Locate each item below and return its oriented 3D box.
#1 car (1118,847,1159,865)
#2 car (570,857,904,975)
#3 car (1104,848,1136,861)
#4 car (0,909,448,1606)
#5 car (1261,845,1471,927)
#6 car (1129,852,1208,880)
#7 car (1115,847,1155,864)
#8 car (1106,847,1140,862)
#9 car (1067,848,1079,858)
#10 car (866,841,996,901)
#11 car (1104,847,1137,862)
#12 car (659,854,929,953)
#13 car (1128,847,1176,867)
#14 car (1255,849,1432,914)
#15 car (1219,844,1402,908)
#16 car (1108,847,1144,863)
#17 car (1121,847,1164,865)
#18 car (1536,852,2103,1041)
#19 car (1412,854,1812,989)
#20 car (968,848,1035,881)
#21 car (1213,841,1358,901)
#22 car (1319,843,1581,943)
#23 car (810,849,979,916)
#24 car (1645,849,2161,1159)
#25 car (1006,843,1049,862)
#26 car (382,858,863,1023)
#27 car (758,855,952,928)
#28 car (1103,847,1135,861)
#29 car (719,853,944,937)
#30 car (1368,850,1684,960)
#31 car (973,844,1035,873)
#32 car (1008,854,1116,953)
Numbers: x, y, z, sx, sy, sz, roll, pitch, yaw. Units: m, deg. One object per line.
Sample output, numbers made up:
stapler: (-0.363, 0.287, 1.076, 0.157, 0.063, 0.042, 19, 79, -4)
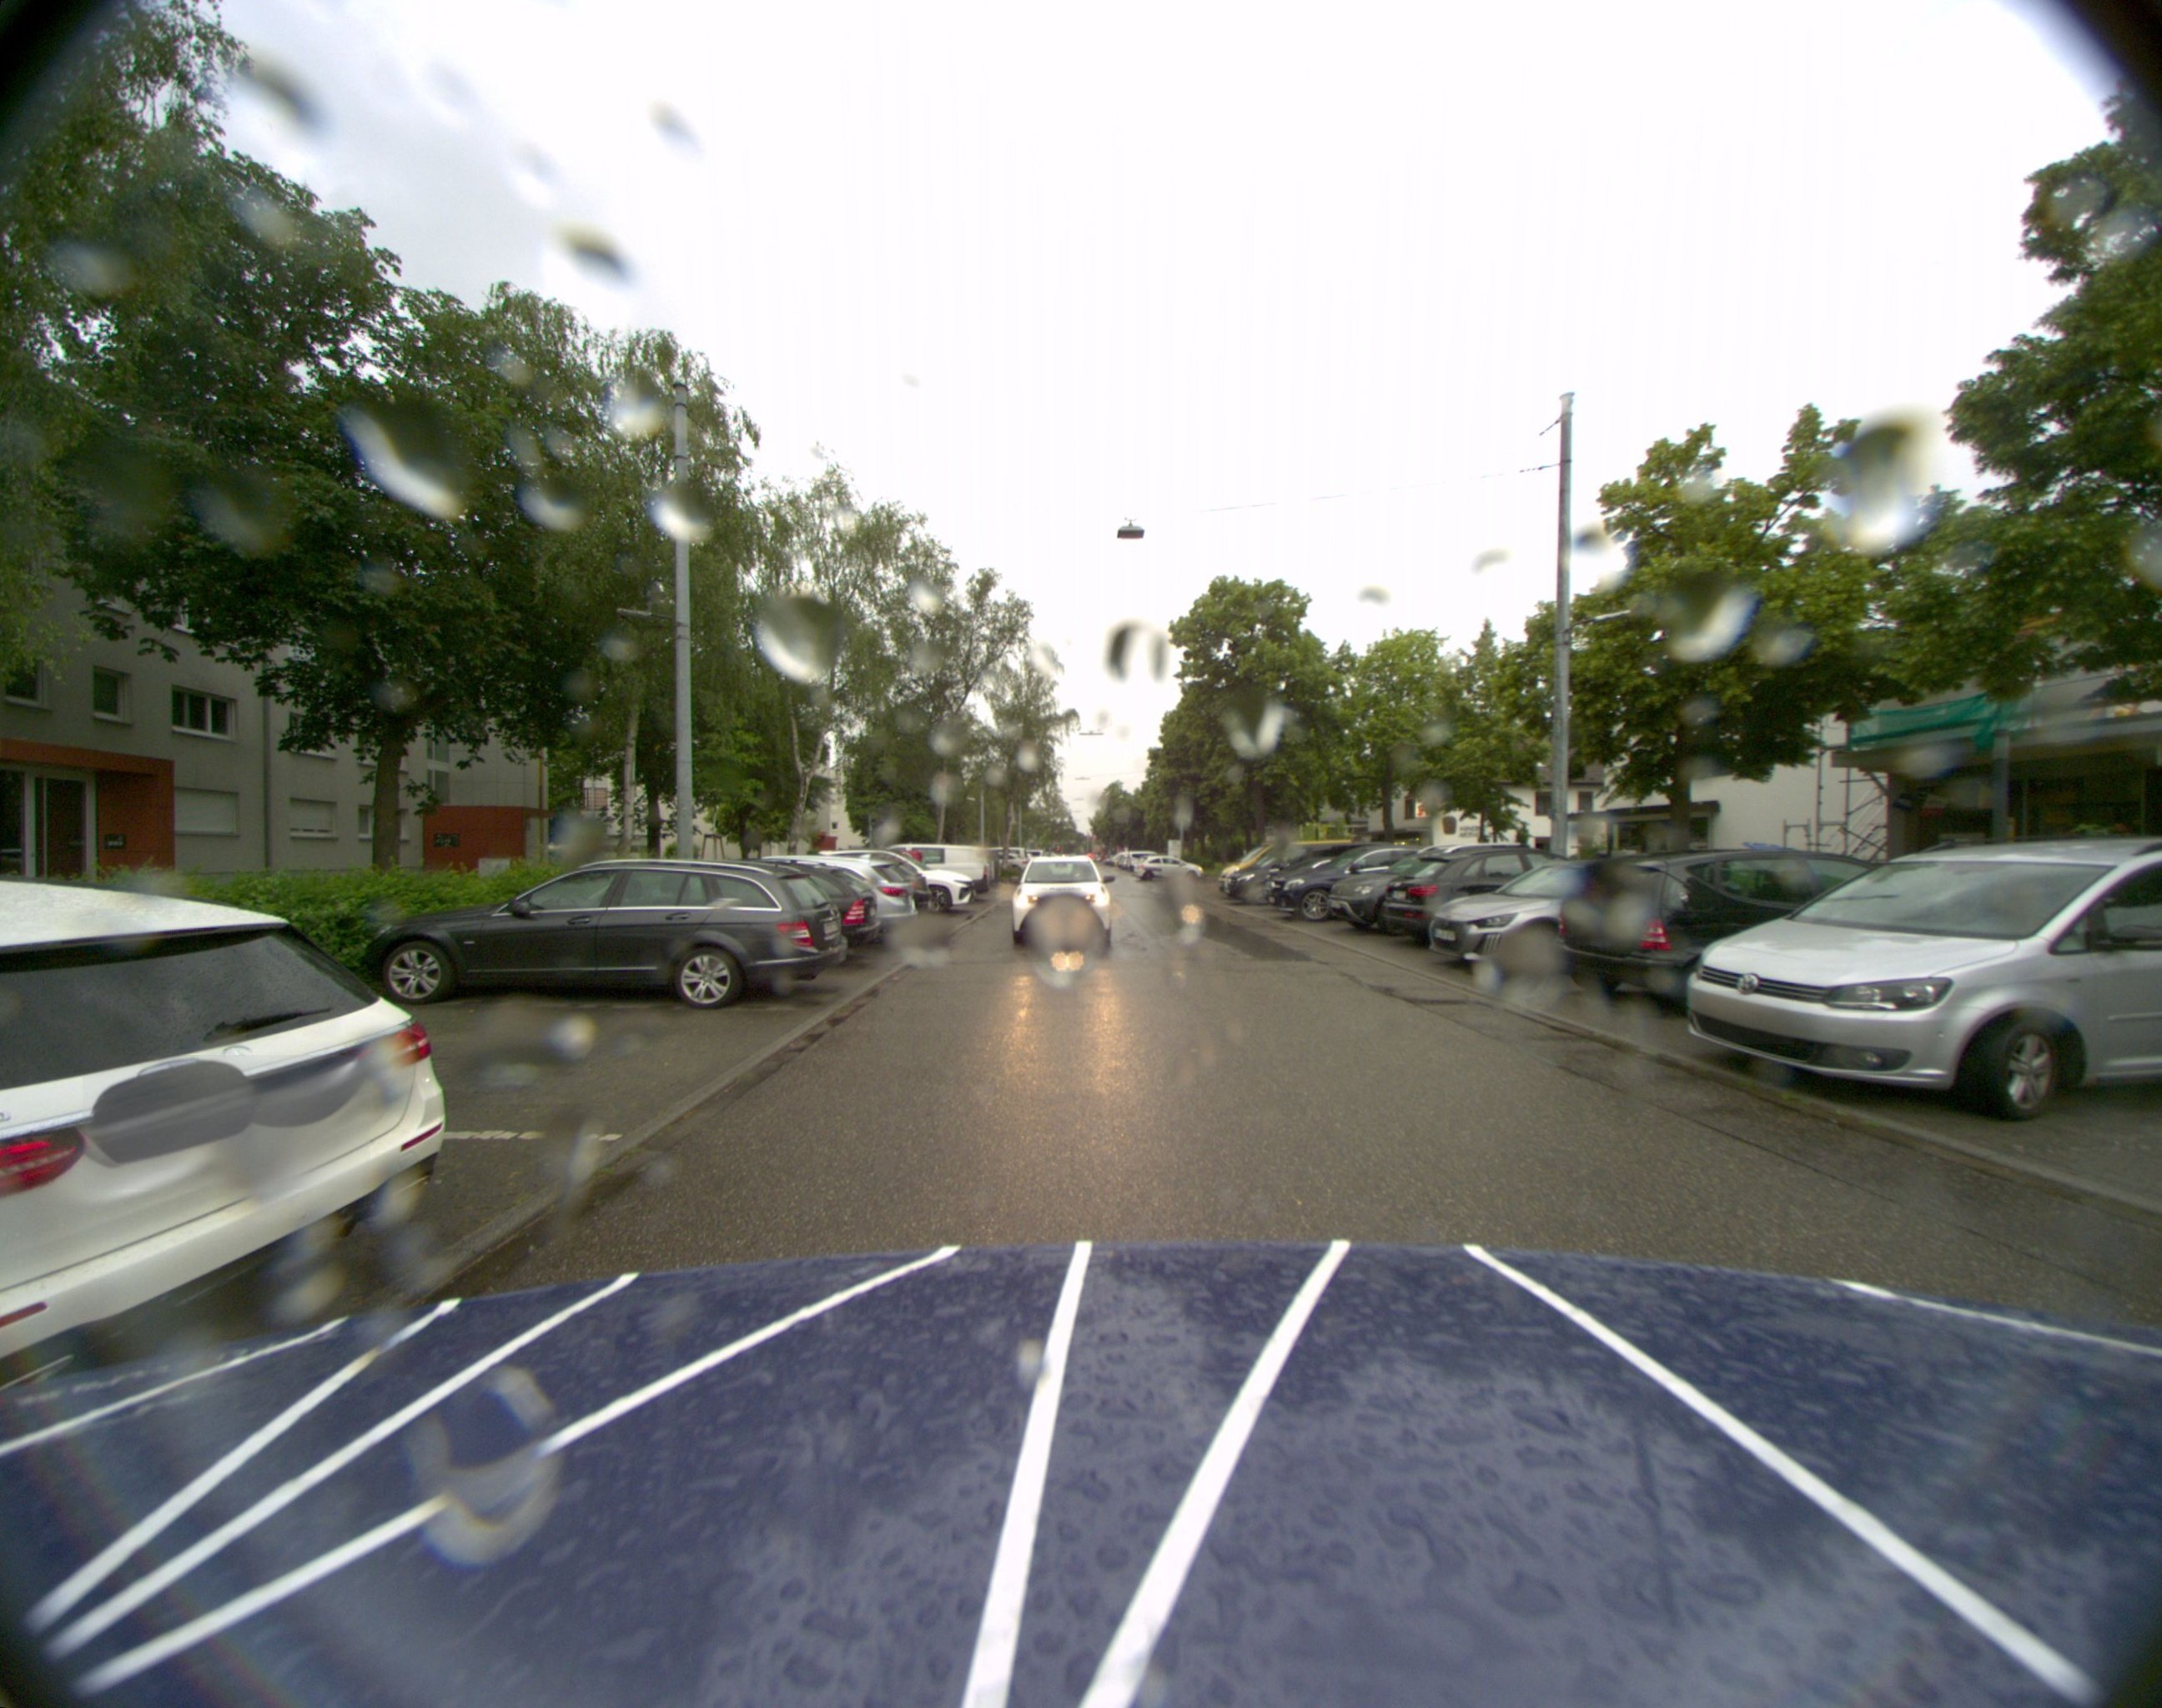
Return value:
car: (5.936, 0.144, 78.432, 3.998, 1.675, 1.999, -2, 1, -3)
car: (-4.798, 0.850, 11.037, 4.049, 1.431, 1.680, 2, 1, -3)
car: (5.208, 0.057, 101.613, 3.998, 1.675, 1.999, -2, 1, -3)
car: (-4.752, 0.914, 2.065, 4.623, 1.431, 1.680, 2, 1, 0)
car: (6.628, 0.711, 17.939, 4.283, 1.717, 1.715, -2, 1, -2)
car: (5.090, 0.682, 44.568, 4.257, 1.446, 1.998, -2, 1, -7)
car: (5.742, 0.116, 81.112, 3.998, 1.675, 1.999, -2, 1, -3)
car: (5.219, 0.060, 94.415, 3.998, 1.675, 1.999, -2, 1, -3)
car: (-1.430, -0.148, 141.612, 1.998, 1.804, 3.999, -2, 1, 1)
car: (-5.085, 0.572, 26.182, 4.182, 1.856, 1.679, 2, 1, -6)
car: (5.028, 0.035, 96.937, 3.998, 1.675, 1.999, -2, 1, -3)
car: (-4.856, 0.820, 13.295, 4.049, 1.488, 1.680, 2, 1, -3)
car: (6.392, 0.249, 68.880, 3.998, 1.675, 1.999, -2, 1, -3)
car: (7.194, 0.721, 21.058, 4.283, 1.617, 1.715, -2, 1, -2)
car: (7.115, 0.643, 23.846, 5.177, 1.789, 1.715, -2, 1, -2)
car: (5.336, 0.109, 90.308, 3.998, 1.675, 1.999, -2, 1, -3)
car: (6.082, 0.172, 75.796, 3.998, 1.675, 1.999, -2, 1, -3)
car: (7.264, 0.836, 7.752, 4.283, 1.556, 1.635, -2, 1, -2)
car: (7.004, 0.834, 10.311, 4.283, 1.523, 1.715, -2, 1, -2)
car: (-5.112, 0.677, 49.258, 3.995, 1.902, 1.902, -2, 1, 4)
car: (7.179, 0.571, 26.935, 4.657, 1.947, 1.715, -2, 1, -2)
car: (7.093, 0.702, 14.861, 4.283, 1.717, 1.715, -2, 1, -2)
car: (-5.036, 0.756, 20.905, 4.179, 1.609, 1.680, 2, 1, 1)
car: (6.615, 0.838, 5.208, 4.283, 1.625, 1.715, -2, 1, -2)
car: (-5.250, -0.173, 75.014, 3.995, 1.670, 1.902, -2, 1, 4)
car: (-4.603, 0.847, 8.109, 4.049, 1.431, 1.680, 2, 1, -3)
car: (-5.205, 0.843, 17.896, 4.049, 1.488, 1.680, 2, 1, -3)
car: (4.971, 0.009, 99.170, 3.998, 1.675, 1.999, -2, 1, -3)
car: (-4.998, 0.796, 15.617, 4.049, 1.488, 1.680, 2, 1, -3)
car: (7.265, 0.784, 12.674, 4.283, 1.586, 1.715, -2, 1, -2)
car: (-5.462, 0.288, 54.087, 3.995, 1.902, 1.902, -2, 1, 4)
car: (-0.394, 0.819, 14.617, 1.733, 1.519, 4.138, -2, 1, -3)
